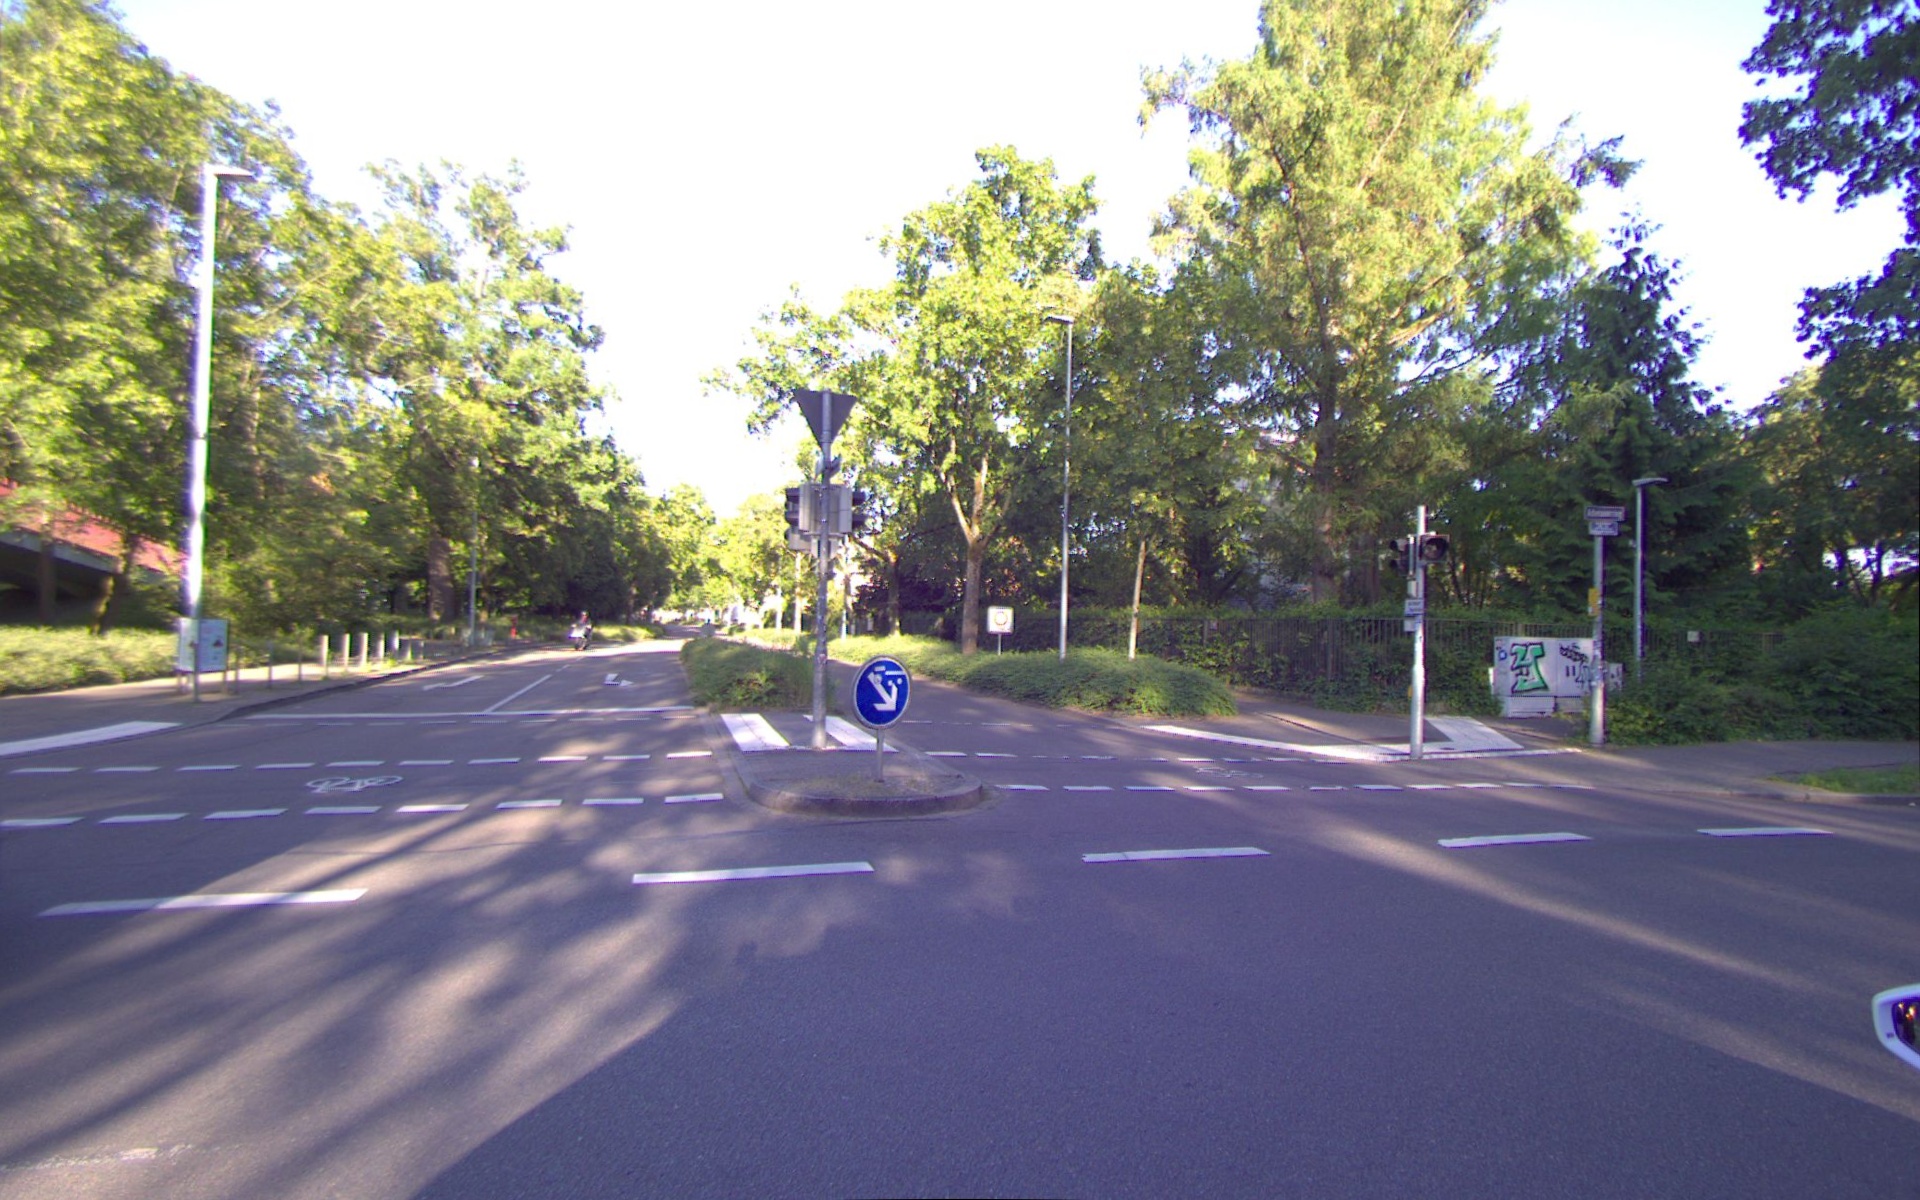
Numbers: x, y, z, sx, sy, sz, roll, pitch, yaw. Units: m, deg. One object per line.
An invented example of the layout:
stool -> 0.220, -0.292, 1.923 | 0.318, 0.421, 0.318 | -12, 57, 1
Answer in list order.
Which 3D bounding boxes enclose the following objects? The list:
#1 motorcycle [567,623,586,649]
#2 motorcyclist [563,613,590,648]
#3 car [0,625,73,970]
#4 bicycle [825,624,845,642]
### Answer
motorcycle -> -16.783, 1.545, 43.968 | 0.516, 1.083, 2.281 | 2, -1, -15
motorcyclist -> -16.716, 1.320, 43.818 | 0.936, 1.490, 1.067 | 2, -1, -15
car -> -5.673, 0.760, 3.359 | 3.581, 1.472, 1.707 | 2, -4, -17
bicycle -> -9.046, 2.368, 72.783 | 0.868, 1.216, 2.327 | 0, -1, 7
